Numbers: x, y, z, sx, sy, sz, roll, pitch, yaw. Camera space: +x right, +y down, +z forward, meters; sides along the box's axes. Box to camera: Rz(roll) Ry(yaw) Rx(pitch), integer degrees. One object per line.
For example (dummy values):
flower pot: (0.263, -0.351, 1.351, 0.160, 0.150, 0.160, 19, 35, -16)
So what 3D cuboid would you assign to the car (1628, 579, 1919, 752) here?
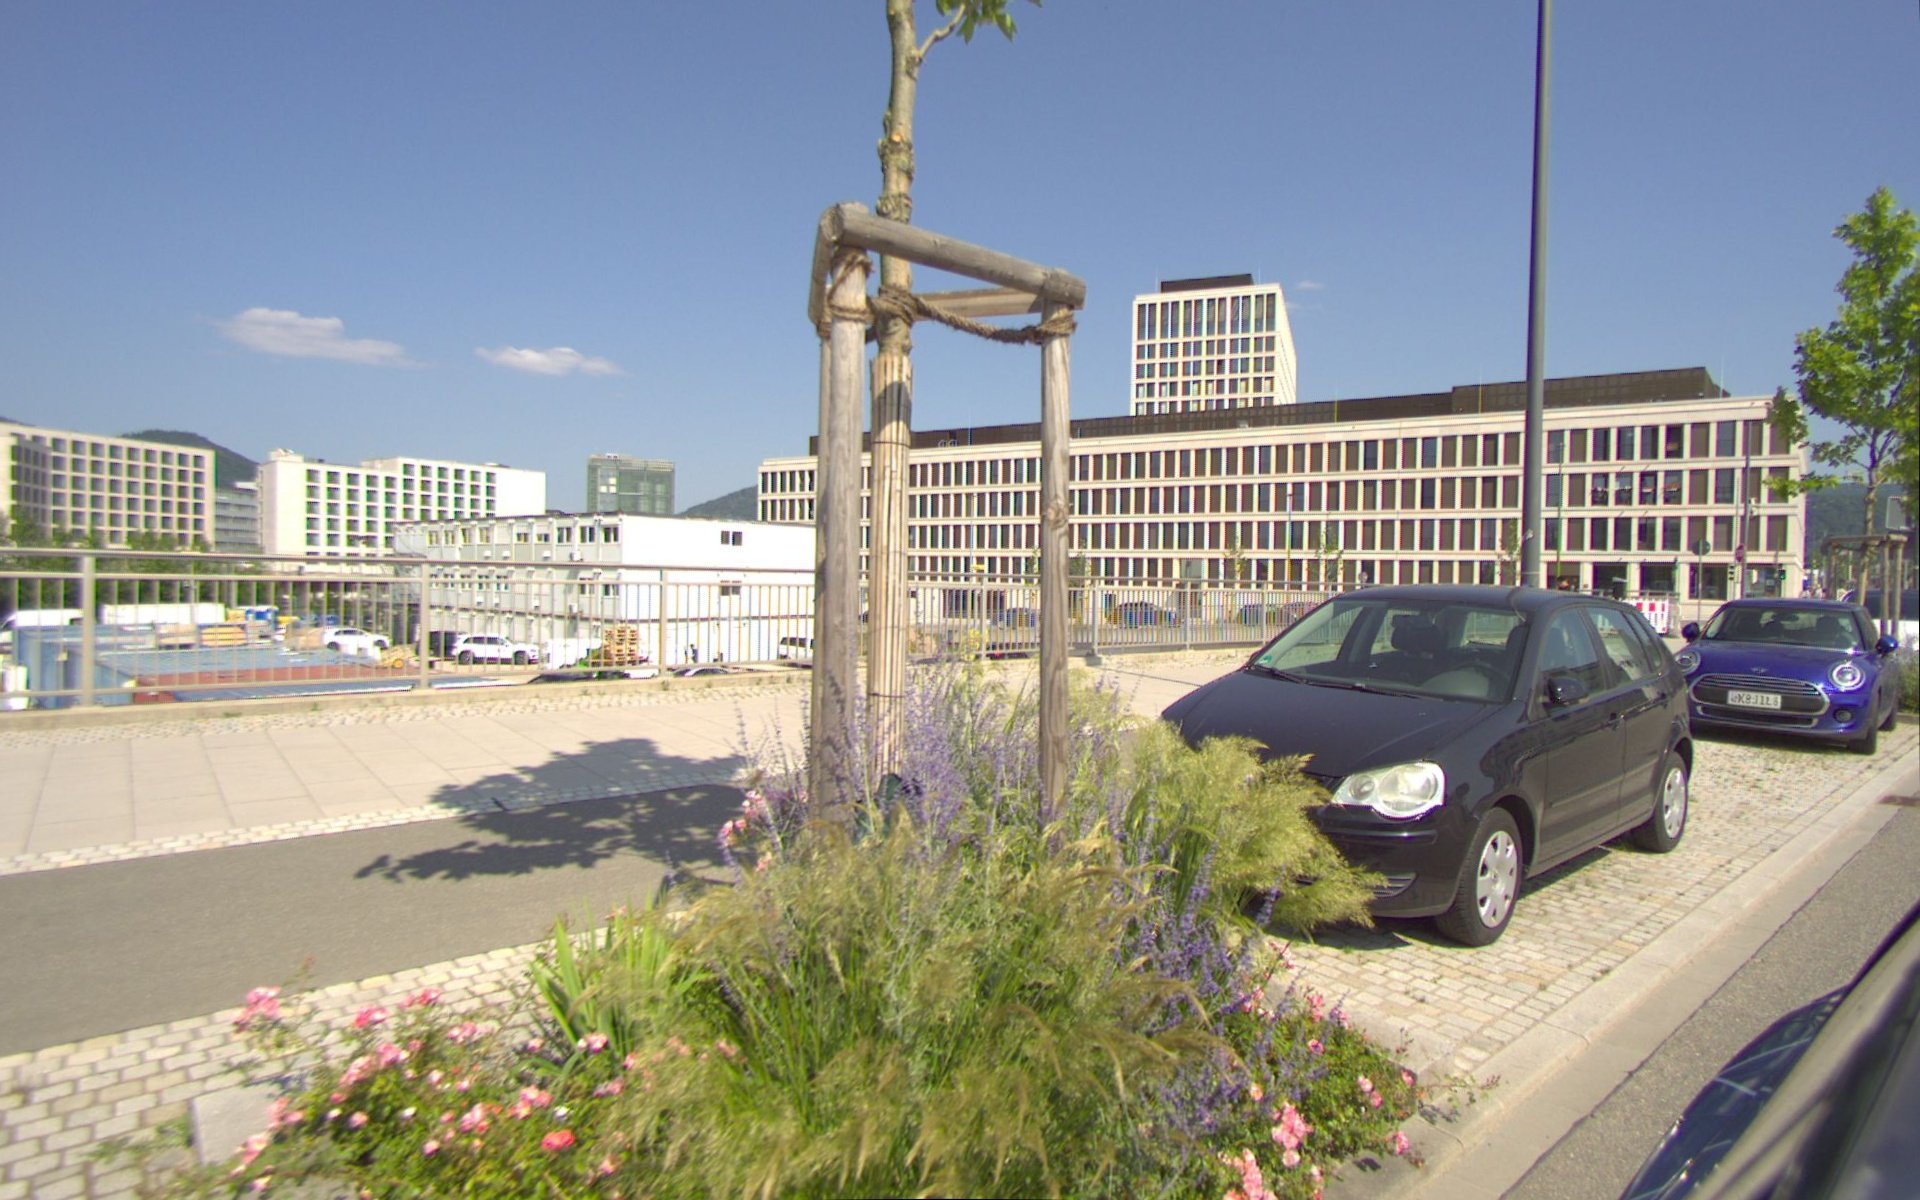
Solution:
car: (9.130, 0.584, 11.062, 4.083, 1.497, 1.913, 1, 2, -40)

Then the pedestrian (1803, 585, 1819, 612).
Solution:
pedestrian: (58.893, -0.106, 70.045, 0.823, 1.805, 0.913, 2, 3, 41)

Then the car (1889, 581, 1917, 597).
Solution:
car: (89.199, -1.011, 95.759, 1.804, 1.527, 3.941, 0, 0, 41)

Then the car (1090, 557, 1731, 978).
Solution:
car: (2.592, 0.587, 5.422, 3.755, 1.497, 1.624, 1, 1, -40)

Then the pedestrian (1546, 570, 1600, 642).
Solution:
pedestrian: (14.405, 0.134, 23.776, 0.932, 1.628, 0.752, 0, 3, -41)

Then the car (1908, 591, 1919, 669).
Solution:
car: (21.152, 0.607, 20.832, 3.930, 1.538, 1.997, 0, 0, -41)

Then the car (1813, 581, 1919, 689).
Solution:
car: (16.199, 0.527, 17.259, 4.792, 1.648, 1.875, 0, 0, -42)

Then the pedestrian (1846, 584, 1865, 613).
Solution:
pedestrian: (57.523, -0.113, 65.016, 0.877, 1.850, 1.639, -2, -1, 42)
